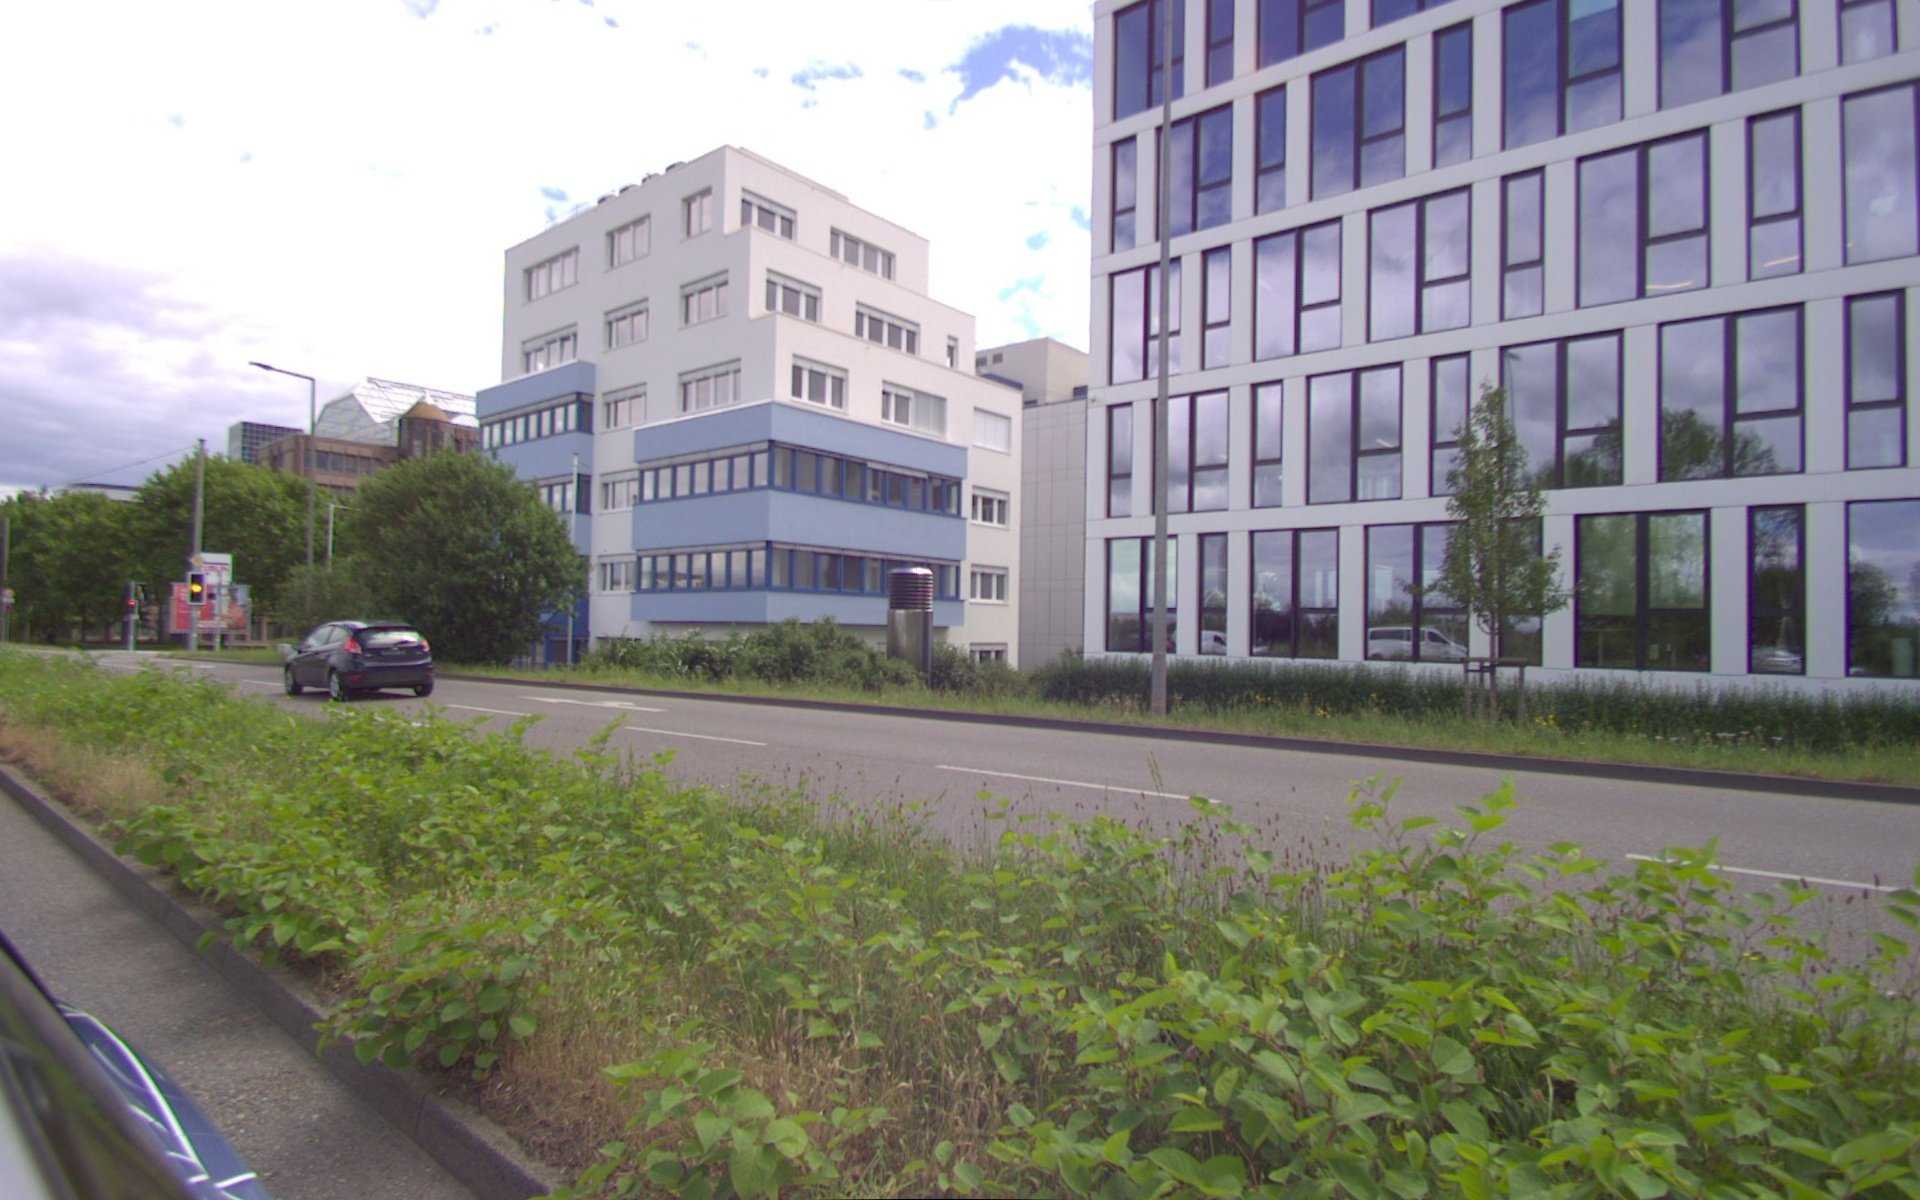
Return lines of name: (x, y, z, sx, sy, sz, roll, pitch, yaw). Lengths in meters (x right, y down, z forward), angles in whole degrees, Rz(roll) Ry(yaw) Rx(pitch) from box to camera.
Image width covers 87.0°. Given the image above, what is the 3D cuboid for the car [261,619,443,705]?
car: (-11.826, 1.127, 19.617, 3.886, 1.457, 1.738, 0, 0, 38)
